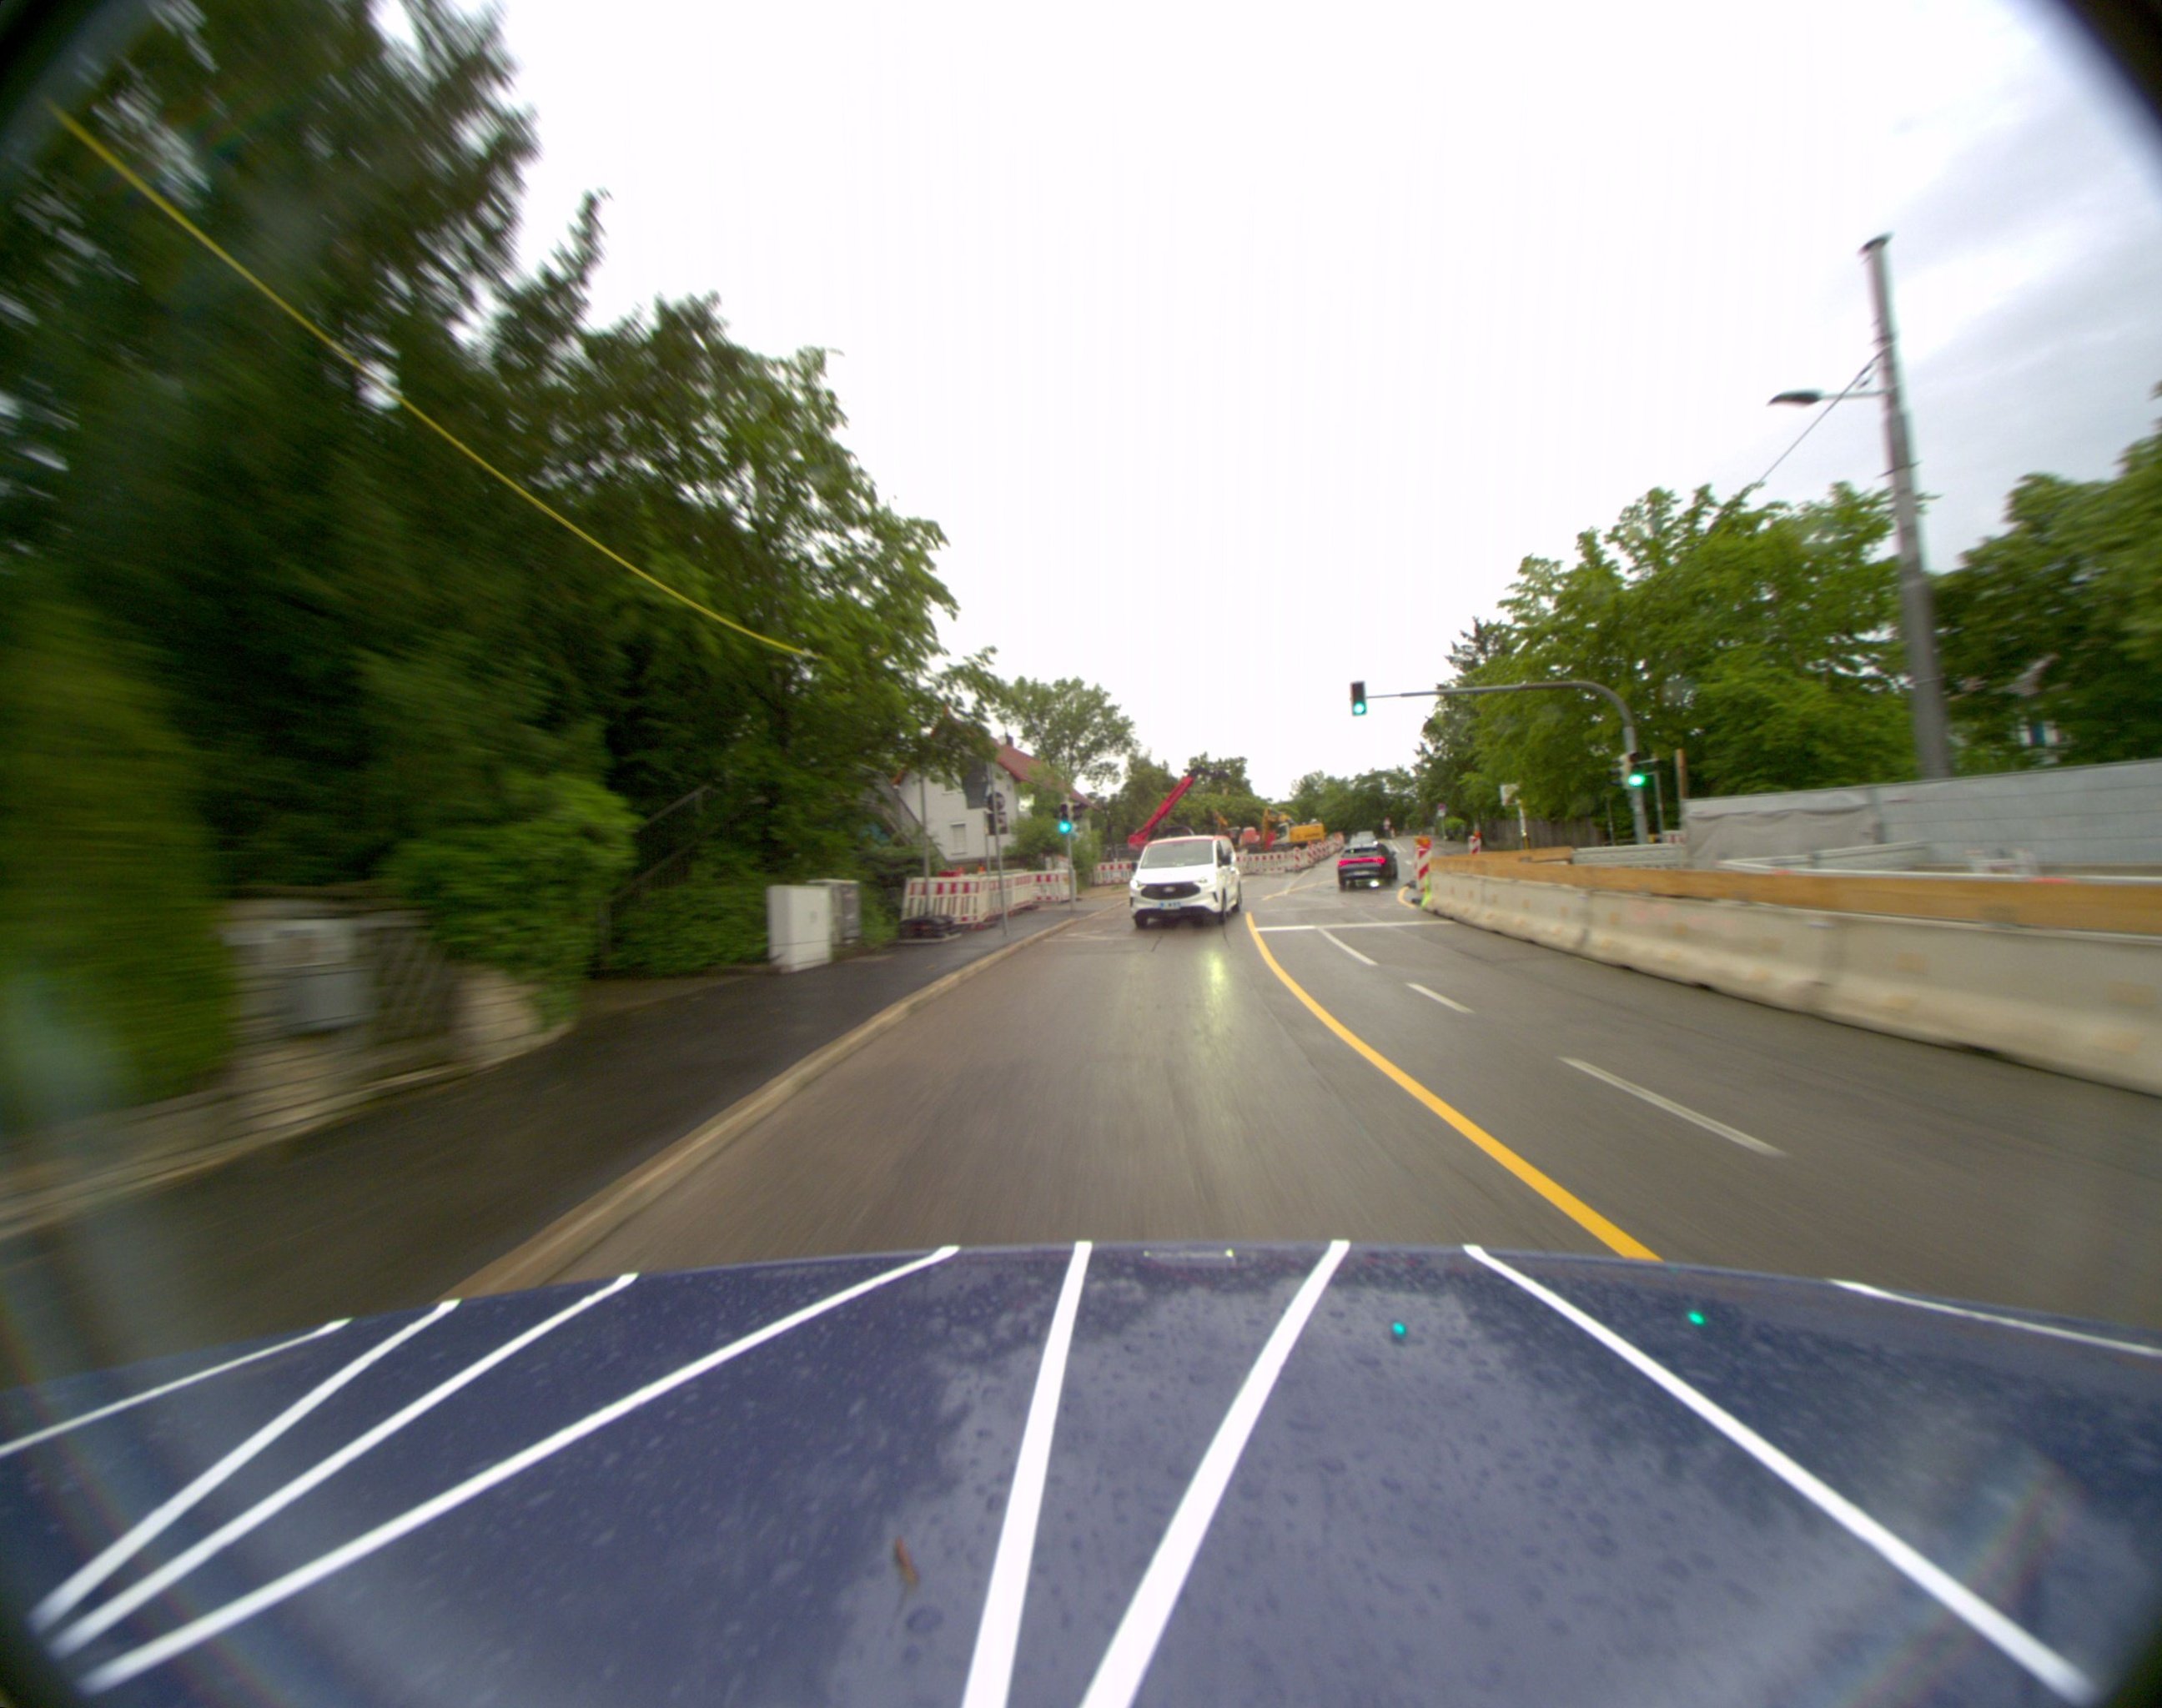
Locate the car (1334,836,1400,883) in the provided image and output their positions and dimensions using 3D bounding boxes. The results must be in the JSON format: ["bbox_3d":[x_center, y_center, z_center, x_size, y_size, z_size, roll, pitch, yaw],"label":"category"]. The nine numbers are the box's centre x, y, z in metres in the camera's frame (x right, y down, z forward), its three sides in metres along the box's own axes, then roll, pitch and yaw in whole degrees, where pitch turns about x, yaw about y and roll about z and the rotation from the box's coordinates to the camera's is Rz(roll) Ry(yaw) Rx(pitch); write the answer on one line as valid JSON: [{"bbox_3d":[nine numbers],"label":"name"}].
[{"bbox_3d":[10.424,0.152,27.493,1.785,1.395,4.372,-4,0,26],"label":"car"}]

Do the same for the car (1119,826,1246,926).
[{"bbox_3d":[2.547,0.402,17.776,1.996,2.002,4.955,-1,1,19],"label":"car"}]

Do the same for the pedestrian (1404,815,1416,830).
[{"bbox_3d":[42.451,-4.074,98.106,0.926,1.757,0.980,-5,0,-8],"label":"pedestrian"}]

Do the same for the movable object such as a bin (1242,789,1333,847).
[{"bbox_3d":[19.525,-3.351,73.008,3.068,4.892,10.802,-7,3,-15],"label":"movable object such as a bin"}]

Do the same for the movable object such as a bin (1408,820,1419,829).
[{"bbox_3d":[45.241,-4.058,103.347,0.988,1.099,1.028,-4,-2,2],"label":"movable object such as a bin"}]

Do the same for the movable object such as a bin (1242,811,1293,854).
[{"bbox_3d":[16.349,-1.830,66.690,3.994,3.182,2.411,-6,-5,12],"label":"movable object such as a bin"}]

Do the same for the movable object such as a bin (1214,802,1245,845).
[{"bbox_3d":[14.654,-2.988,74.718,1.996,3.866,4.622,-5,1,19],"label":"movable object such as a bin"}]

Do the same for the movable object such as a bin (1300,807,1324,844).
[{"bbox_3d":[23.136,-2.870,75.931,1.996,3.287,3.837,-5,4,18],"label":"movable object such as a bin"}]

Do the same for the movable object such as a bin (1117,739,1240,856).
[{"bbox_3d":[6.346,-3.527,49.178,6.959,6.651,3.048,-5,1,18],"label":"movable object such as a bin"}]

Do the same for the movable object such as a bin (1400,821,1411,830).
[{"bbox_3d":[44.200,-3.878,103.432,0.988,1.100,1.027,-4,-1,2],"label":"movable object such as a bin"}]
